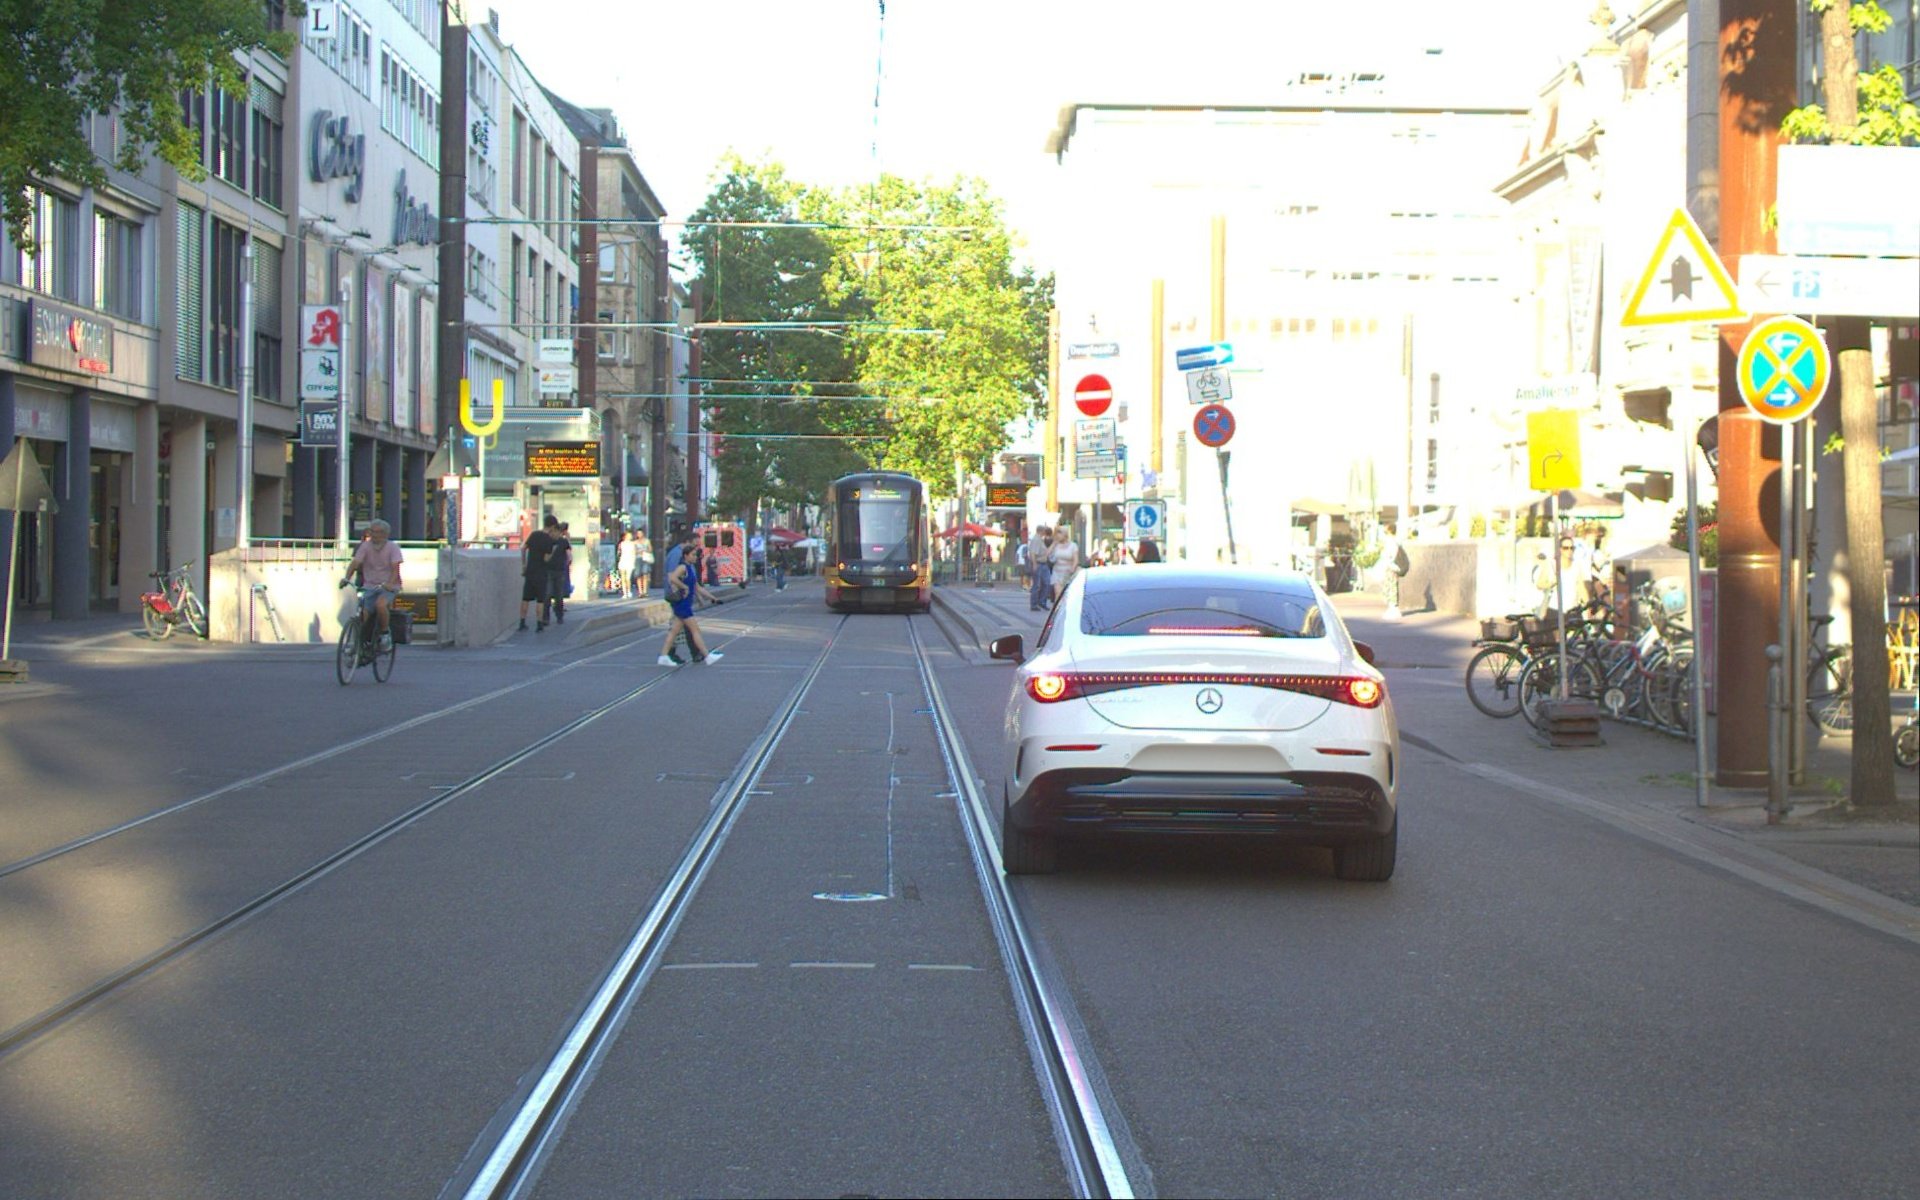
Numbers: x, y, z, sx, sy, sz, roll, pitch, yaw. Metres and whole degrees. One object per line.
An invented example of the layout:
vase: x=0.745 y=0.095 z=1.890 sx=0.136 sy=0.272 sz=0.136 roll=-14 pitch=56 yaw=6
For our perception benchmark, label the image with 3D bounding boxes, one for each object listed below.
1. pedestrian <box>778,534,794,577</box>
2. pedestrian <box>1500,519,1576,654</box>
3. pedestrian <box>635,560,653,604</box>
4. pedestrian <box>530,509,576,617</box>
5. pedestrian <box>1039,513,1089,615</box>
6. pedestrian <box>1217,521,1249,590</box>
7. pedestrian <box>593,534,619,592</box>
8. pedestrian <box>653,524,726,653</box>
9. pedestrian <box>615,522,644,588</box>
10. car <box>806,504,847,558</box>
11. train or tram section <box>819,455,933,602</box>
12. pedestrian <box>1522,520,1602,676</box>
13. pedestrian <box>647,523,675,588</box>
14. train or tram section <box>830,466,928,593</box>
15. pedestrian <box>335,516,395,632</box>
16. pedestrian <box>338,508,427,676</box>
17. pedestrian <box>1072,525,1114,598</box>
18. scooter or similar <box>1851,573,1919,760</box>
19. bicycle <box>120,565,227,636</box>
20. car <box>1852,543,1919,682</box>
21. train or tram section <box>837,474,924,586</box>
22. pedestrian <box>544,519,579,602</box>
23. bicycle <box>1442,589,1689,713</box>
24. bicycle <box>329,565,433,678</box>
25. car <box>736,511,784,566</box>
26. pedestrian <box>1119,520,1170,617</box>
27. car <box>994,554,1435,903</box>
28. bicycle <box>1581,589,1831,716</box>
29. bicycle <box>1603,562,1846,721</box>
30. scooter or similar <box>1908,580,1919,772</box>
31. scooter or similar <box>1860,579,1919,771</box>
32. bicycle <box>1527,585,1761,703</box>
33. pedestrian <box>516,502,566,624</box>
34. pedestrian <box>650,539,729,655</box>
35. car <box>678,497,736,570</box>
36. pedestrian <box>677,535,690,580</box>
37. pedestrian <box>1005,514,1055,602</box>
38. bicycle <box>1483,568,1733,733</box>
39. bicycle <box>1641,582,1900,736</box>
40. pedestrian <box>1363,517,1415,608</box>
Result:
pedestrian: x=-6.635 y=-1.686 z=131.096 sx=0.604 sy=1.624 sz=0.531 roll=0 pitch=1 yaw=0
pedestrian: x=7.779 y=-0.191 z=46.321 sx=0.840 sy=1.779 sz=0.804 roll=-1 pitch=1 yaw=-1
pedestrian: x=-11.825 y=-0.682 z=128.724 sx=0.604 sy=1.624 sz=0.415 roll=0 pitch=1 yaw=-16
pedestrian: x=-6.660 y=-0.605 z=56.236 sx=0.550 sy=1.754 sz=0.520 roll=1 pitch=1 yaw=27
pedestrian: x=1.740 y=-0.607 z=57.553 sx=0.746 sy=1.692 sz=0.840 roll=0 pitch=1 yaw=-3
pedestrian: x=7.005 y=-1.144 z=88.215 sx=0.727 sy=1.779 sz=0.707 roll=1 pitch=1 yaw=-1
pedestrian: x=-9.705 y=-1.022 z=94.276 sx=0.660 sy=1.593 sz=0.573 roll=0 pitch=1 yaw=-2
pedestrian: x=-3.589 y=-0.155 z=45.726 sx=0.905 sy=1.692 sz=0.849 roll=0 pitch=1 yaw=0
pedestrian: x=-8.111 y=-1.102 z=84.360 sx=0.660 sy=1.593 sz=0.573 roll=0 pitch=1 yaw=-2
car: x=-7.369 y=-3.808 z=189.844 sx=2.099 sy=2.887 sz=5.275 roll=0 pitch=1 yaw=-1
train or tram section: x=-2.133 y=-1.830 z=88.614 sx=2.694 sy=3.504 sz=12.546 roll=0 pitch=1 yaw=-1
pedestrian: x=6.973 y=-0.033 z=39.860 sx=0.748 sy=1.779 sz=0.767 roll=-1 pitch=1 yaw=-1
pedestrian: x=-7.349 y=-1.093 z=84.448 sx=0.660 sy=1.593 sz=0.573 roll=0 pitch=1 yaw=-2
train or tram section: x=-2.366 y=-2.069 z=101.164 sx=2.694 sy=3.504 sz=12.546 roll=0 pitch=1 yaw=-1
pedestrian: x=-8.886 y=-0.394 z=51.350 sx=0.782 sy=1.711 sz=0.840 roll=0 pitch=1 yaw=-4
pedestrian: x=-6.274 y=-0.093 z=37.379 sx=0.800 sy=1.776 sz=0.849 roll=2 pitch=1 yaw=-2
pedestrian: x=3.300 y=-0.966 z=85.254 sx=0.960 sy=1.779 sz=0.804 roll=-1 pitch=1 yaw=-1
scooter or similar: x=6.641 y=0.455 z=24.042 sx=0.527 sy=1.273 sz=0.660 roll=-2 pitch=1 yaw=-12
bicycle: x=-11.619 y=-0.008 z=50.846 sx=0.719 sy=1.006 sz=2.038 roll=1 pitch=1 yaw=13
car: x=11.849 y=0.120 z=37.413 sx=3.801 sy=1.468 sz=1.649 roll=0 pitch=1 yaw=-6
train or tram section: x=-2.593 y=-2.290 z=113.002 sx=2.694 sy=3.504 sz=11.144 roll=0 pitch=1 yaw=-1
pedestrian: x=-7.444 y=-0.733 z=64.266 sx=0.615 sy=1.539 sz=0.651 roll=0 pitch=1 yaw=-3
bicycle: x=5.488 y=0.460 z=31.155 sx=2.113 sy=1.092 sz=0.610 roll=1 pitch=0 yaw=-12
bicycle: x=-6.285 y=0.215 z=37.423 sx=0.800 sy=1.138 sz=2.257 roll=2 pitch=1 yaw=-2
car: x=-9.160 y=-2.835 z=157.784 sx=1.910 sy=2.452 sz=5.275 roll=0 pitch=1 yaw=-1
pedestrian: x=3.183 y=-0.553 z=59.251 sx=0.838 sy=1.656 sz=0.785 roll=0 pitch=1 yaw=1
car: x=1.126 y=0.531 z=17.057 sx=1.857 sy=1.450 sz=4.175 roll=1 pitch=1 yaw=0
bicycle: x=6.614 y=0.454 z=30.499 sx=2.113 sy=1.092 sz=0.610 roll=0 pitch=1 yaw=-14
bicycle: x=6.466 y=0.343 z=29.084 sx=1.907 sy=1.277 sz=0.610 roll=-1 pitch=1 yaw=-12
scooter or similar: x=6.658 y=0.503 z=22.718 sx=0.491 sy=1.273 sz=0.660 roll=-2 pitch=1 yaw=-12
scooter or similar: x=6.537 y=0.501 z=23.419 sx=0.527 sy=1.273 sz=0.660 roll=-2 pitch=1 yaw=-12
bicycle: x=6.501 y=0.413 z=32.697 sx=2.113 sy=1.092 sz=0.610 roll=0 pitch=1 yaw=-12
pedestrian: x=-6.693 y=-0.594 z=54.888 sx=0.540 sy=1.922 sz=0.571 roll=1 pitch=1 yaw=43
pedestrian: x=-3.533 y=-0.043 z=44.928 sx=0.955 sy=1.491 sz=0.944 roll=0 pitch=1 yaw=0
car: x=-10.196 y=-2.673 z=138.983 sx=1.993 sy=2.887 sz=5.275 roll=0 pitch=1 yaw=-1
pedestrian: x=-9.972 y=-1.528 z=123.840 sx=0.414 sy=1.624 sz=0.606 roll=0 pitch=1 yaw=-1
pedestrian: x=1.438 y=-0.875 z=70.692 sx=0.960 sy=1.779 sz=0.804 roll=-1 pitch=1 yaw=-1
bicycle: x=5.306 y=0.401 z=28.166 sx=1.907 sy=1.277 sz=0.610 roll=-1 pitch=1 yaw=-12
bicycle: x=6.450 y=0.461 z=27.356 sx=1.907 sy=1.152 sz=0.610 roll=-1 pitch=1 yaw=-12
pedestrian: x=8.100 y=-0.710 z=64.916 sx=0.817 sy=1.679 sz=0.804 roll=-1 pitch=1 yaw=-1
